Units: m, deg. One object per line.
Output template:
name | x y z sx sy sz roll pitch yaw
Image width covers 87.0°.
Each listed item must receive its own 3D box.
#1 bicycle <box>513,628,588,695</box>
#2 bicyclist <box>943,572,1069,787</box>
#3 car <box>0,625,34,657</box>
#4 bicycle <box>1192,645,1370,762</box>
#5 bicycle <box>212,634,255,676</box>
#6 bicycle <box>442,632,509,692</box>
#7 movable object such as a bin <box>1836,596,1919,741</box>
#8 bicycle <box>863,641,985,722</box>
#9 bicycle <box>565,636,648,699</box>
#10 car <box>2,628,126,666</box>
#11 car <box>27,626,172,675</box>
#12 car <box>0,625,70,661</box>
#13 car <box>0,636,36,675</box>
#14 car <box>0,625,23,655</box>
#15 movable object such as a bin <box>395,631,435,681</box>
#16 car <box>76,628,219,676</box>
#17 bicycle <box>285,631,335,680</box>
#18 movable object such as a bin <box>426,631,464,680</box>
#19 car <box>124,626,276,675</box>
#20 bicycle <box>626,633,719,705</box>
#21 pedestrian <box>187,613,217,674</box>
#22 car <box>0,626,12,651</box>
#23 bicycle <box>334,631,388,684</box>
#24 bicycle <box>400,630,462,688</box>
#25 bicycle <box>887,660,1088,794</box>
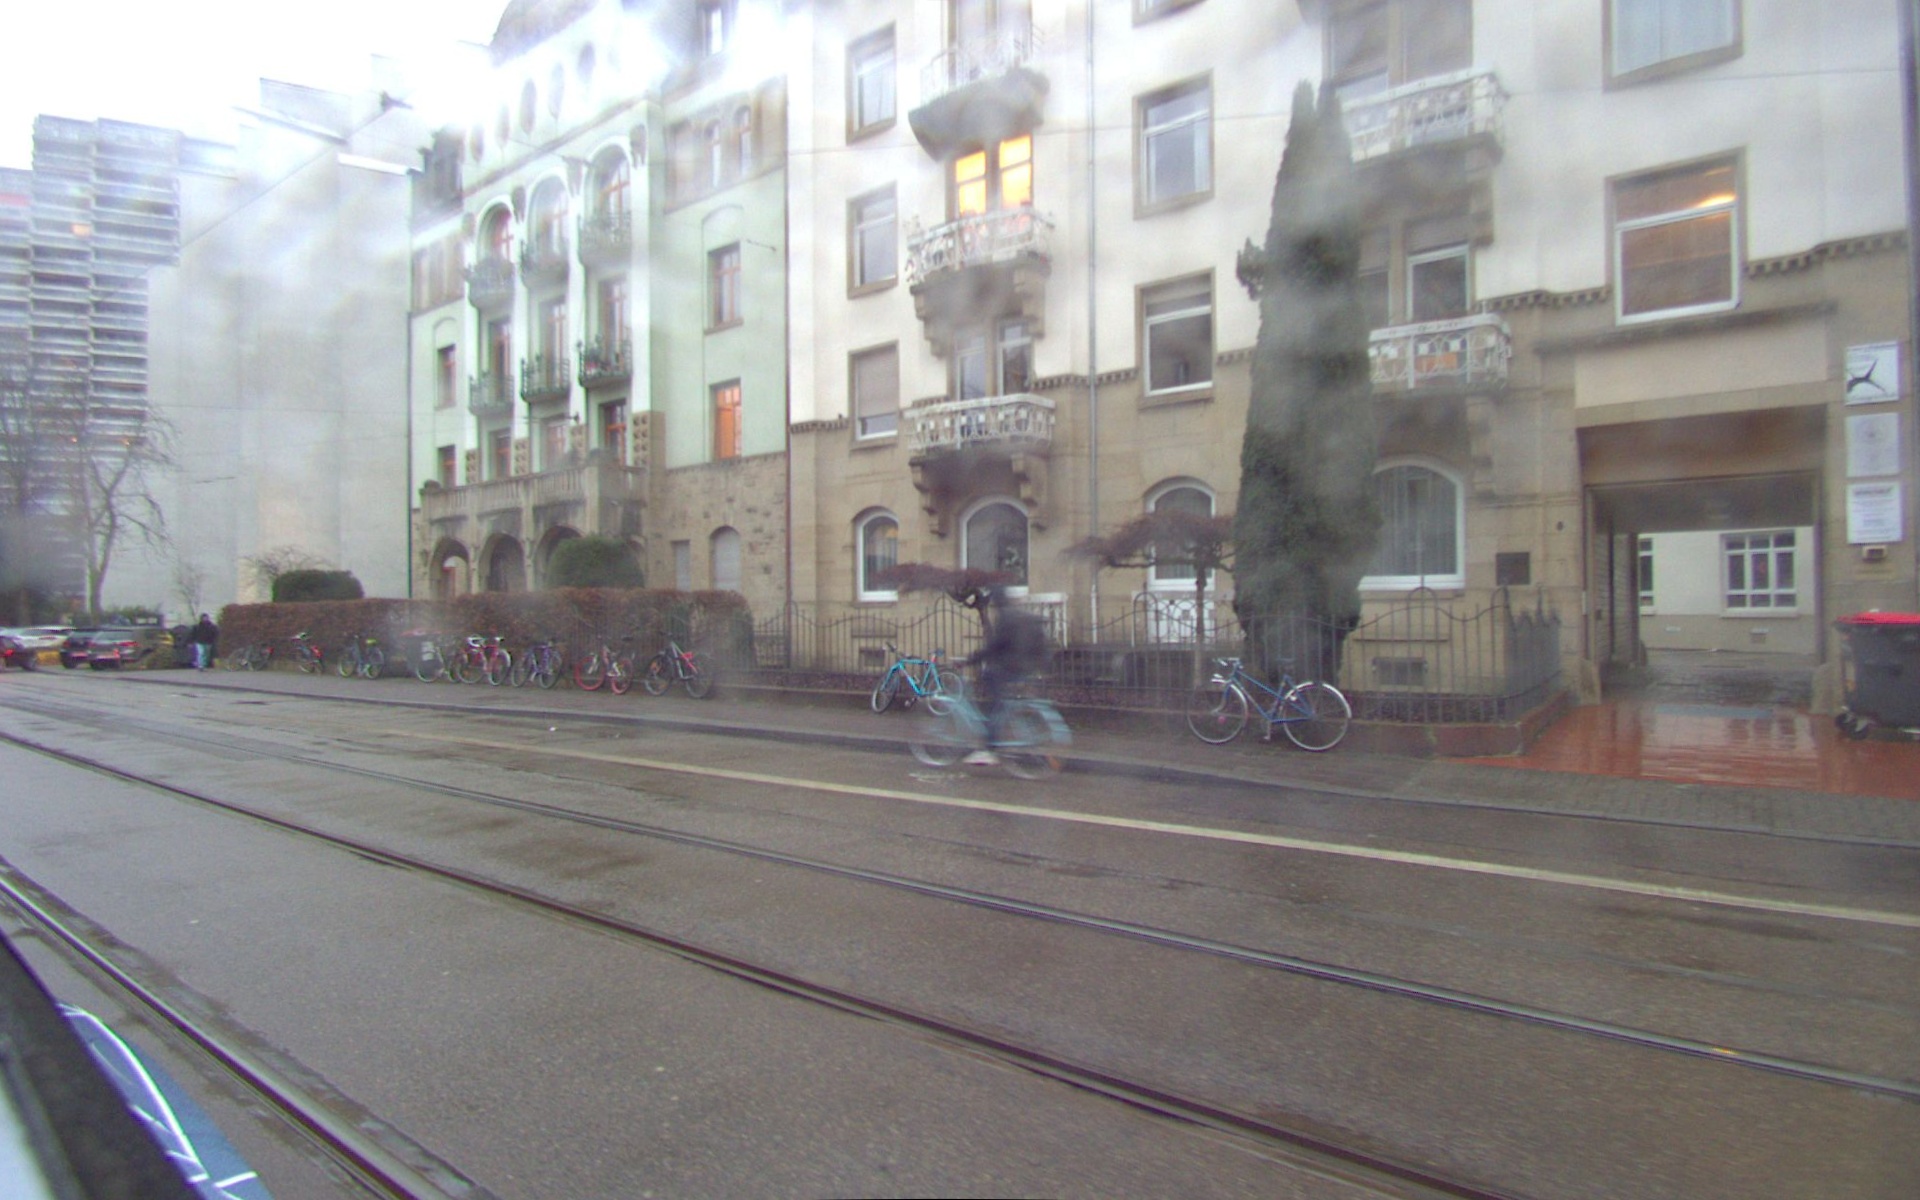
bicycle | -7.842 1.160 19.343 1.661 1.221 0.617 -2 -2 40
bicyclist | 0.425 0.709 9.448 0.990 1.891 0.617 -2 -2 40
car | -49.345 2.095 50.924 1.843 1.608 3.999 -1 -1 0
bicycle | 3.348 1.042 10.625 1.661 1.101 0.617 -2 -2 40
bicycle | -21.001 1.569 29.239 1.661 1.173 0.617 -2 -1 40
bicycle | -10.041 1.258 20.950 1.661 1.173 0.617 -2 -2 40
movable object such as a bin | 9.838 0.674 10.414 1.166 1.390 1.092 -2 1 39
bicycle | -0.502 1.067 13.695 1.661 1.010 0.617 -2 -2 40
bicycle | -6.396 1.197 18.254 1.725 1.073 0.617 -2 -2 40
car | -38.494 1.995 43.615 1.843 1.460 3.999 -1 -1 0
car | -30.836 1.767 36.452 1.843 1.608 3.999 -1 -1 0
car | -44.051 1.988 47.063 1.843 1.608 3.999 -1 -1 0
car | -32.382 1.822 33.350 1.682 1.262 3.678 0 -2 -23
car | -51.721 2.135 52.892 1.843 1.608 3.999 -1 -1 0
movable object such as a bin | -13.033 1.324 24.214 0.674 1.173 0.651 -2 -2 40
car | -27.975 1.745 35.025 1.740 1.497 3.999 -1 -1 0
bicycle | -16.840 1.408 26.215 1.661 1.221 0.617 -2 -2 40
movable object such as a bin | -12.604 1.344 24.764 0.674 1.173 0.617 -2 -2 40
car | -25.552 1.657 34.201 1.848 1.505 3.989 -1 -1 9
bicycle | -4.848 1.132 17.033 1.782 1.134 0.617 -2 -2 40
pedestrian | -22.319 1.276 29.802 0.644 1.738 0.567 0 1 41
car | -62.013 2.459 63.251 1.843 1.608 3.999 -1 -1 0
bicycle | -14.611 1.382 24.660 1.661 1.221 0.617 -2 -2 40
bicycle | -11.667 1.279 22.302 1.661 1.221 0.617 -2 -2 40
bicycle | 0.217 1.150 9.627 1.946 1.101 0.617 -2 -2 40
